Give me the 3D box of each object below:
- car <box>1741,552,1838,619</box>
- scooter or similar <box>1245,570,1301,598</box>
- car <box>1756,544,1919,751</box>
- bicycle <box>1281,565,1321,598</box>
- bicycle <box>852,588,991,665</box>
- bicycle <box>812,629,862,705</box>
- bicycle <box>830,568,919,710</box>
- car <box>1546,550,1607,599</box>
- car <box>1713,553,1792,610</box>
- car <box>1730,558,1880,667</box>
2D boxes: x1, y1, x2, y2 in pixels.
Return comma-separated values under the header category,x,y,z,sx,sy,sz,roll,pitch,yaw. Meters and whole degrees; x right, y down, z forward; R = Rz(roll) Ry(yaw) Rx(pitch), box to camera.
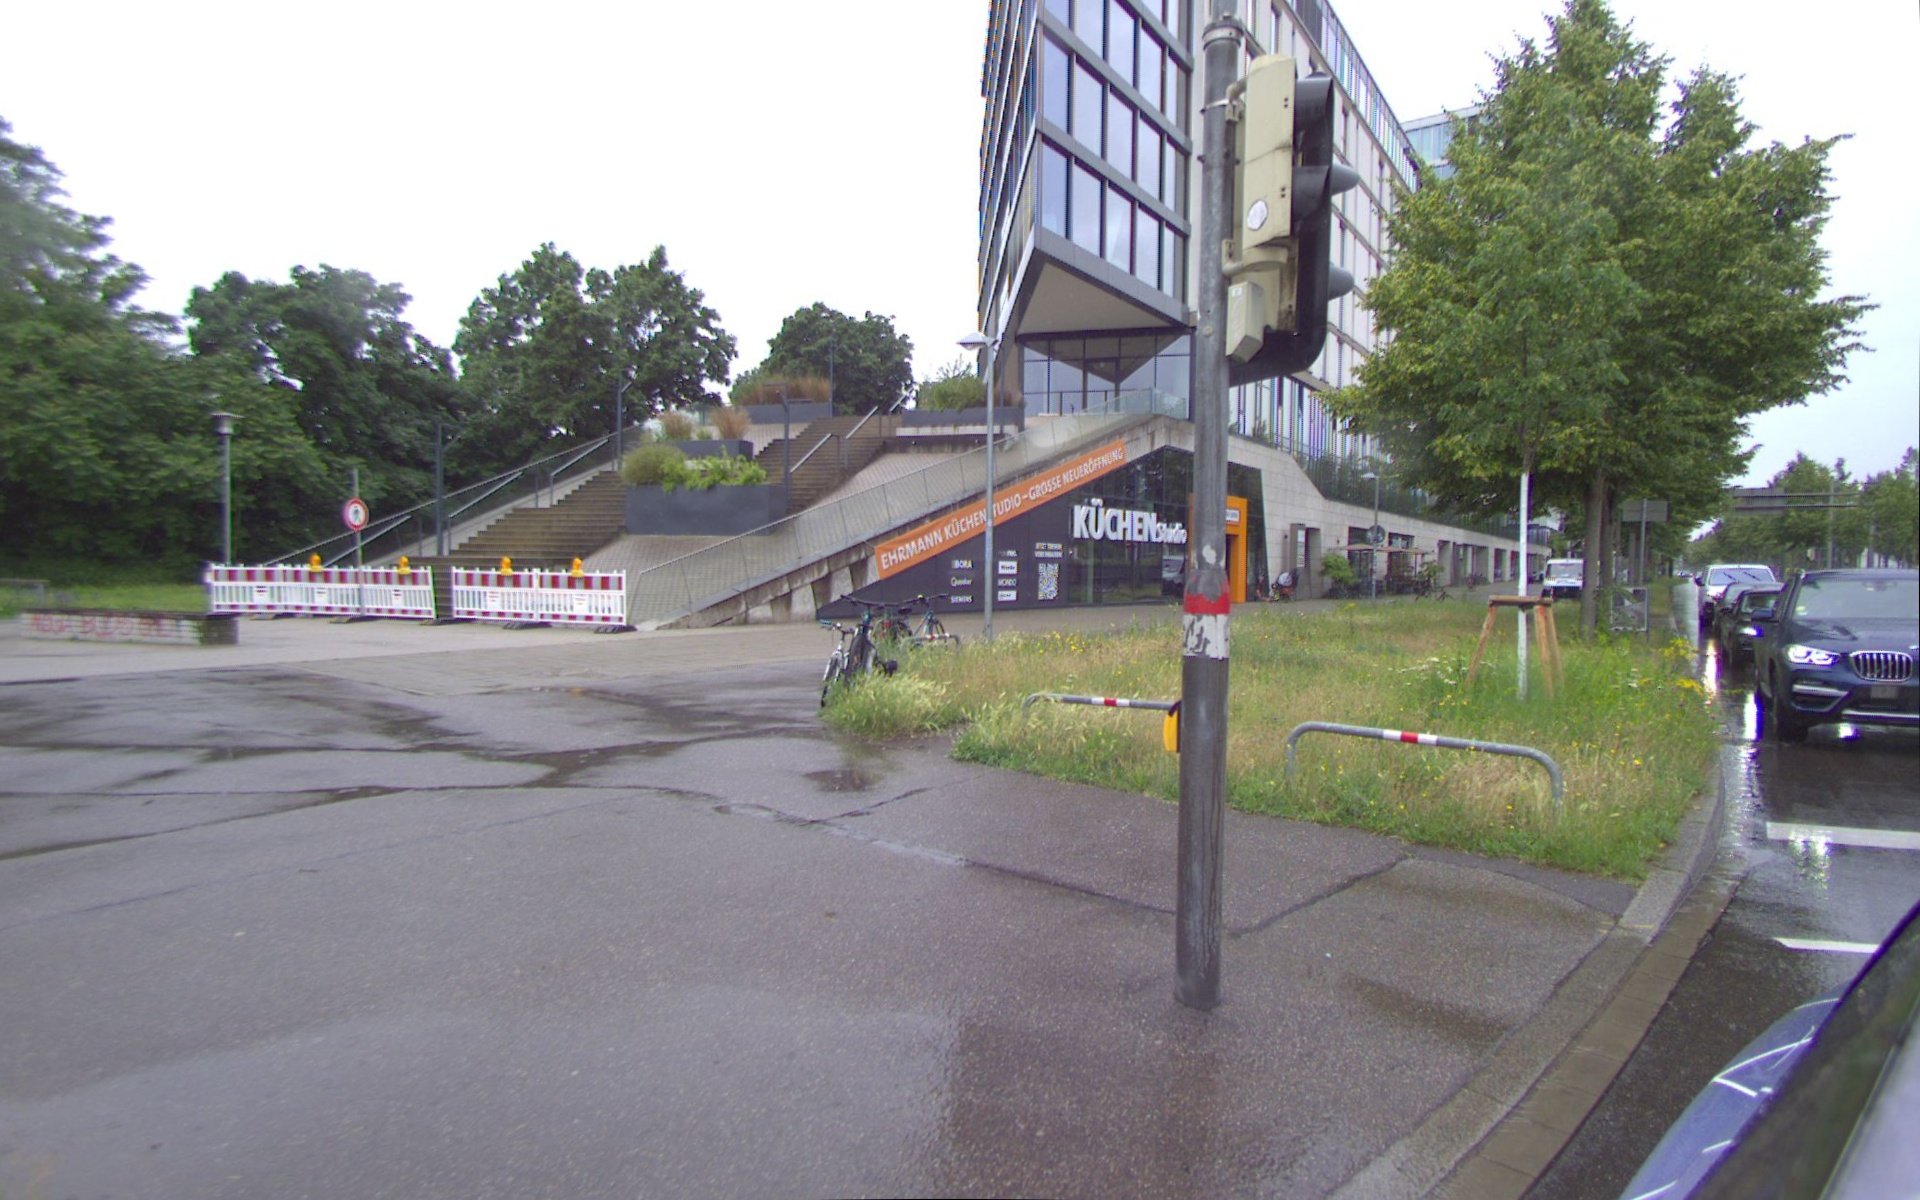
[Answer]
category,x,y,z,sx,sy,sz,roll,pitch,yaw
car,22.439,-0.414,27.489,1.778,1.668,3.949,-1,1,36
scooter or similar,12.992,-0.659,41.945,2.566,1.113,0.812,-2,1,-36
car,9.483,0.349,10.362,1.906,1.768,4.327,-1,1,36
bicycle,14.928,-0.828,44.302,0.878,1.364,2.662,-1,1,36
bicycle,-0.435,0.291,12.718,0.632,0.857,2.138,1,1,34
bicycle,-1.202,0.607,9.720,0.314,0.565,1.807,0,1,-12
bicycle,-0.885,0.300,9.840,0.542,1.204,2.530,0,1,-12
car,29.564,-1.224,48.435,2.073,2.229,5.032,-1,1,36
car,24.806,-0.587,31.779,1.778,1.668,3.949,-1,1,36
car,15.574,0.156,18.794,1.908,1.768,4.323,-1,1,39
